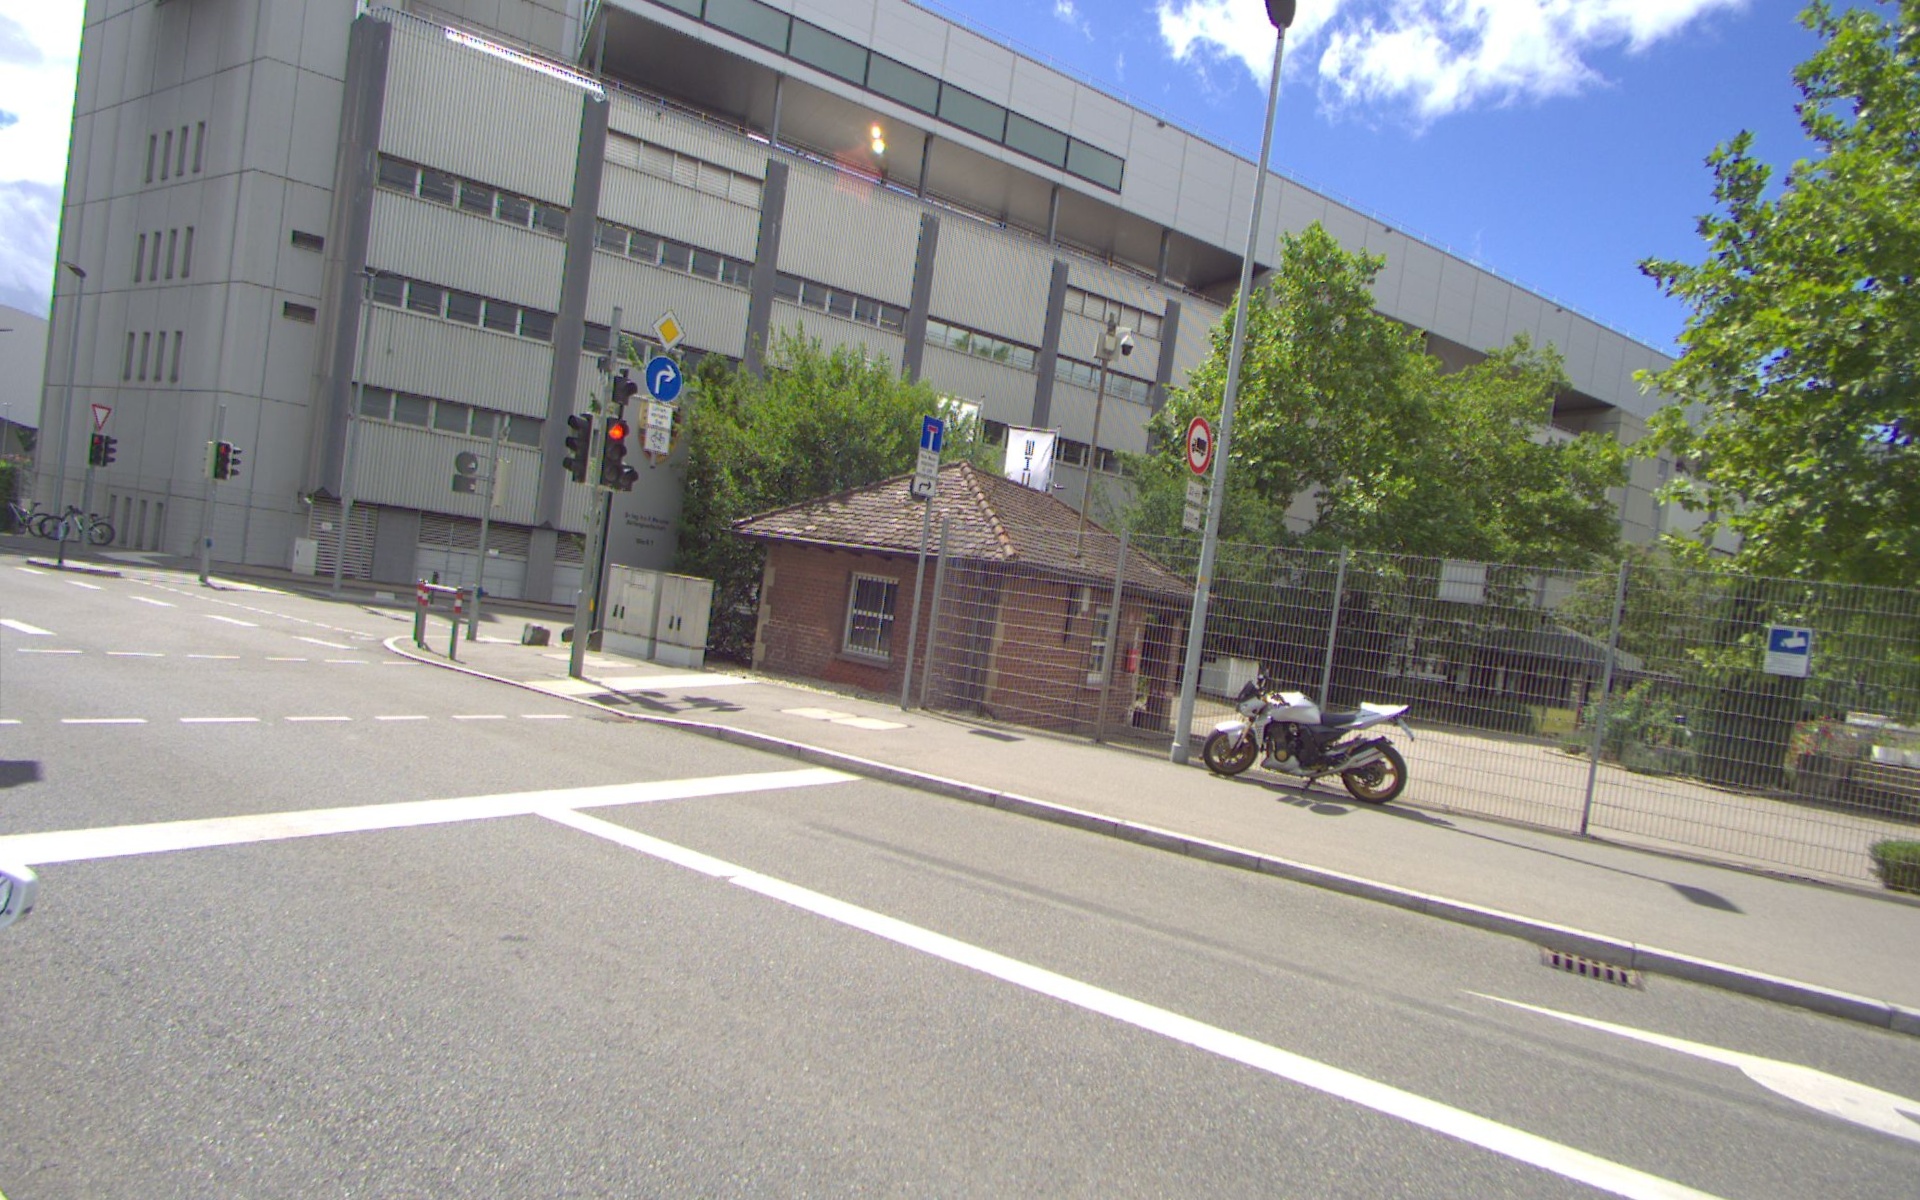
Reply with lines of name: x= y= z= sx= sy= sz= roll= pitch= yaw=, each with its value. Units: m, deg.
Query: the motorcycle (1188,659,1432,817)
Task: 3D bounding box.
motorcycle: x=3.454 y=1.311 z=9.990 sx=2.110 sy=1.173 sz=0.693 roll=7 pitch=2 yaw=27

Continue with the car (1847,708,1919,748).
car: x=53.052 y=7.296 z=56.787 sx=1.979 sy=1.803 sz=3.971 roll=8 pitch=-2 yaw=-30

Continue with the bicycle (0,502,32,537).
bicycle: x=-29.677 y=-2.535 z=31.075 sx=1.891 sy=0.948 sz=0.399 roll=7 pitch=0 yaw=13

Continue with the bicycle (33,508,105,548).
bicycle: x=-27.252 y=-2.201 z=30.760 sx=1.892 sy=0.948 sz=0.399 roll=7 pitch=0 yaw=6

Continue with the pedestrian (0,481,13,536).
pedestrian: x=-29.165 y=-2.797 z=30.012 sx=0.837 sy=1.644 sz=0.953 roll=7 pitch=0 yaw=-17
